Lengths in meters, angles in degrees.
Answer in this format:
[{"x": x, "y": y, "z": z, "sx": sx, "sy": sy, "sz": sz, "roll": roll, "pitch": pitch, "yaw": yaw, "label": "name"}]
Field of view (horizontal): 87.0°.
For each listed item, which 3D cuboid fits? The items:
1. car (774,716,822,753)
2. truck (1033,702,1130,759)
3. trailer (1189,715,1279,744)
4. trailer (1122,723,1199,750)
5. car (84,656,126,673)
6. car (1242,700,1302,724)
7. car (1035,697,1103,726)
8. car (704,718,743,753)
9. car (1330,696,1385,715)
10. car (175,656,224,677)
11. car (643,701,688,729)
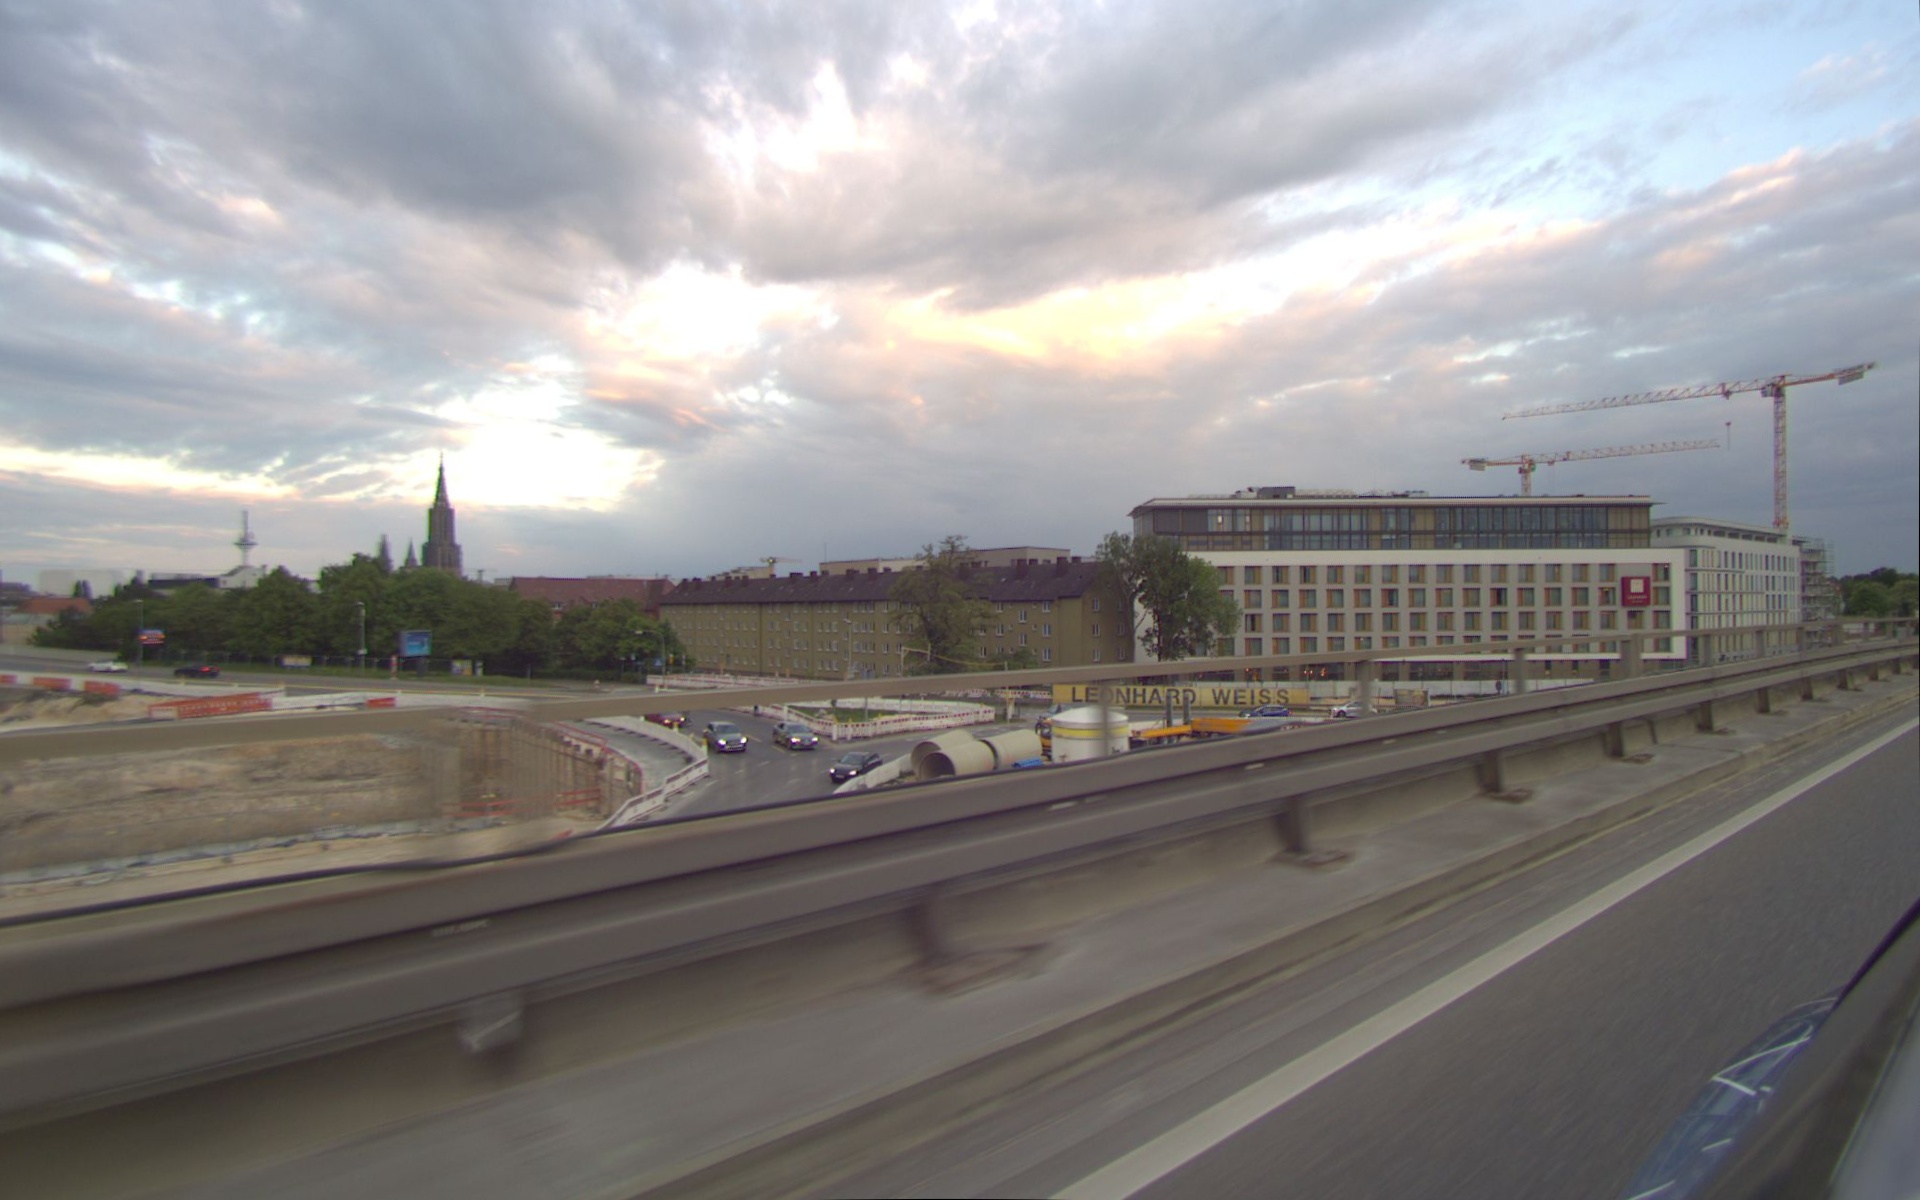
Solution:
[{"x": -10.675, "y": 8.793, "z": 66.429, "sx": 1.768, "sy": 1.741, "sz": 4.106, "roll": -3, "pitch": 1, "yaw": -30, "label": "car"}, {"x": 7.880, "y": 8.252, "z": 64.708, "sx": 2.157, "sy": 2.987, "sz": 7.218, "roll": -4, "pitch": -4, "yaw": 44, "label": "truck"}, {"x": 19.232, "y": 9.064, "z": 71.095, "sx": 5.826, "sy": 1.365, "sz": 2.004, "roll": 0, "pitch": 0, "yaw": 32, "label": "trailer"}, {"x": 13.816, "y": 9.371, "z": 69.497, "sx": 5.768, "sy": 1.366, "sz": 1.996, "roll": 1, "pitch": -7, "yaw": -40, "label": "trailer"}, {"x": -94.910, "y": 7.200, "z": 112.394, "sx": 3.648, "sy": 1.762, "sz": 1.588, "roll": 0, "pitch": -4, "yaw": 12, "label": "car"}, {"x": 25.093, "y": 9.004, "z": 81.619, "sx": 4.527, "sy": 1.640, "sz": 1.990, "roll": 0, "pitch": -4, "yaw": 14, "label": "car"}, {"x": 8.465, "y": 8.631, "z": 78.600, "sx": 4.996, "sy": 1.902, "sz": 1.999, "roll": 2, "pitch": -2, "yaw": 1, "label": "car"}, {"x": -15.043, "y": 8.560, "z": 64.246, "sx": 1.612, "sy": 1.761, "sz": 3.799, "roll": -1, "pitch": -1, "yaw": -26, "label": "car"}, {"x": 34.144, "y": 9.052, "z": 86.969, "sx": 3.925, "sy": 1.461, "sz": 1.911, "roll": 0, "pitch": -3, "yaw": 2, "label": "car"}, {"x": -81.419, "y": 7.162, "z": 108.399, "sx": 3.938, "sy": 2.040, "sz": 1.991, "roll": 2, "pitch": -4, "yaw": 12, "label": "car"}, {"x": -21.761, "y": 8.469, "z": 74.698, "sx": 1.622, "sy": 1.639, "sz": 3.757, "roll": 0, "pitch": 0, "yaw": -44, "label": "car"}]
